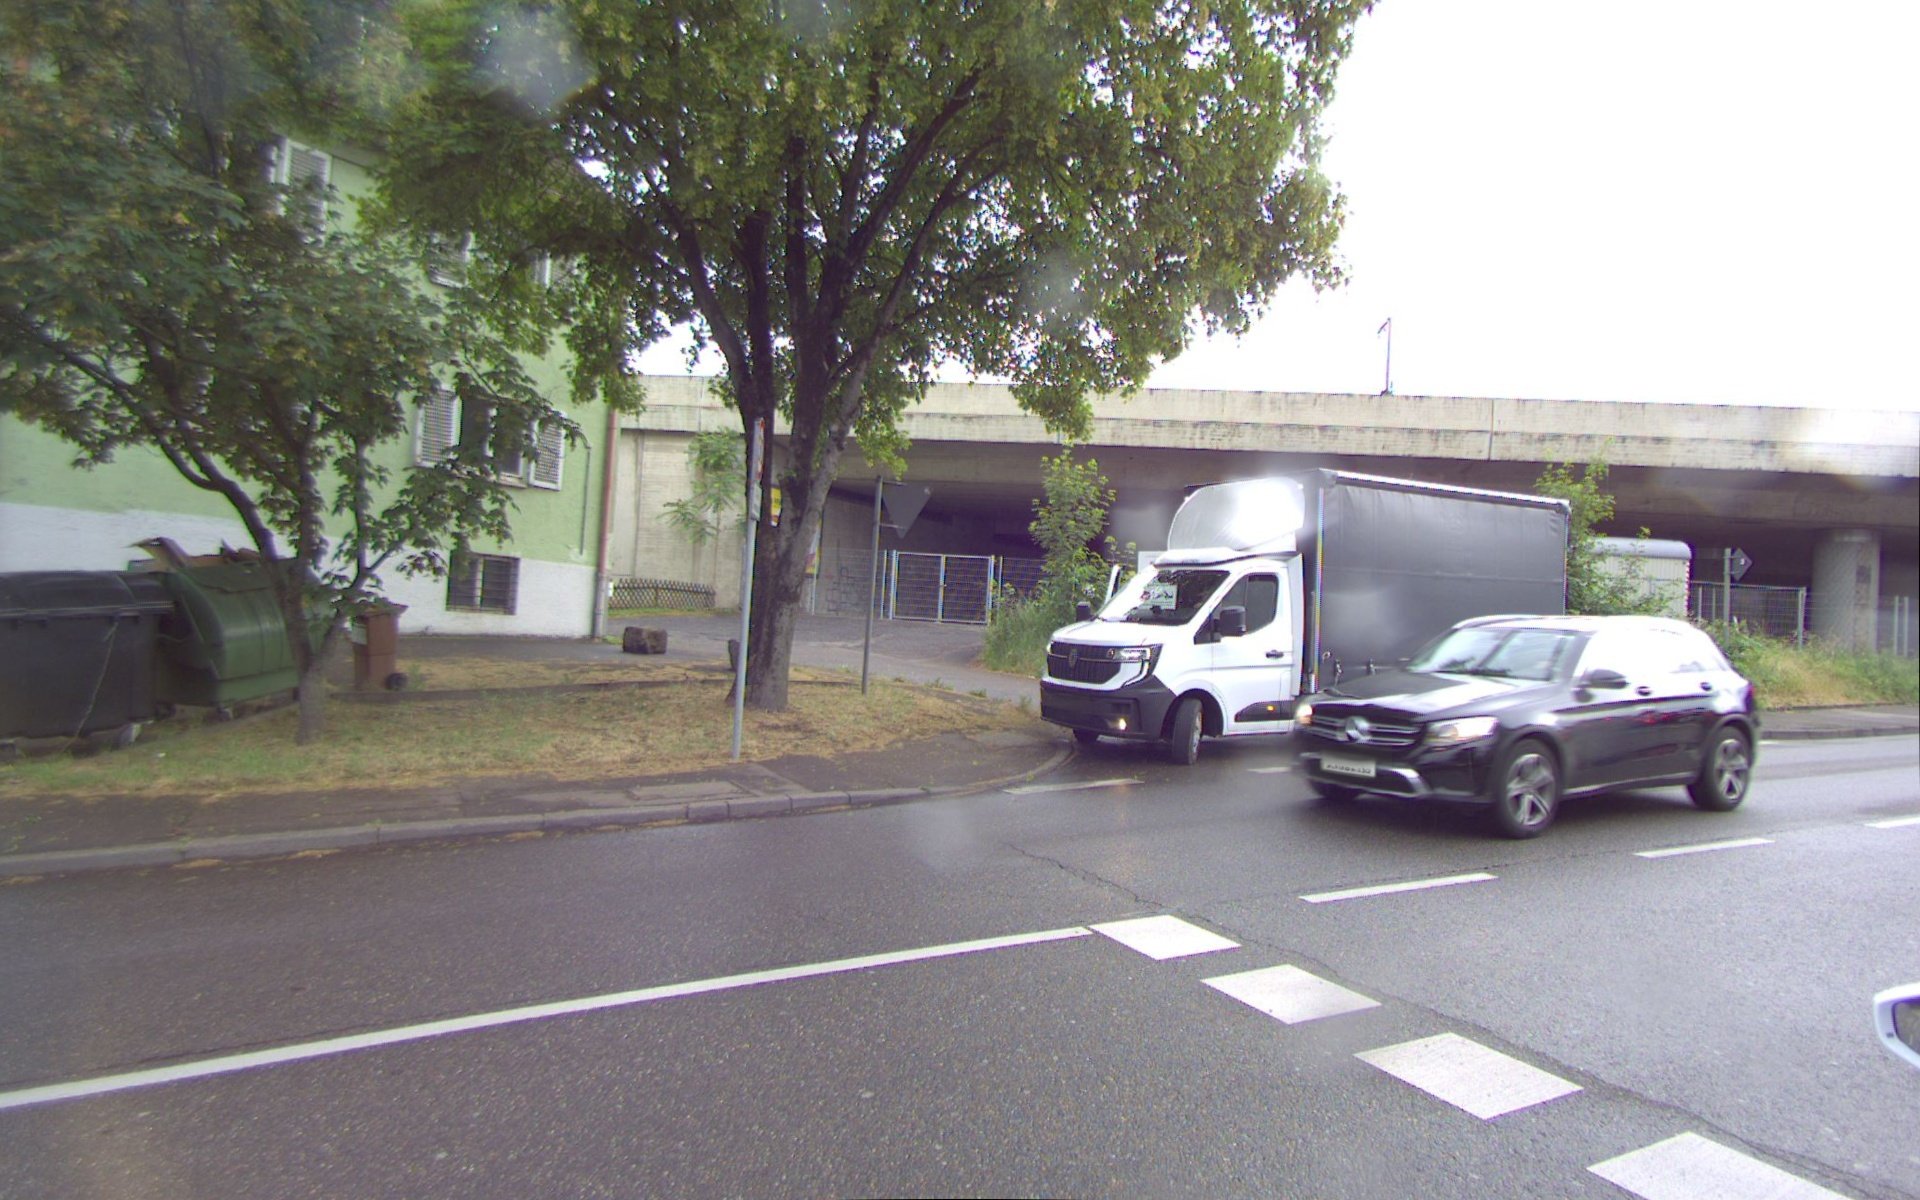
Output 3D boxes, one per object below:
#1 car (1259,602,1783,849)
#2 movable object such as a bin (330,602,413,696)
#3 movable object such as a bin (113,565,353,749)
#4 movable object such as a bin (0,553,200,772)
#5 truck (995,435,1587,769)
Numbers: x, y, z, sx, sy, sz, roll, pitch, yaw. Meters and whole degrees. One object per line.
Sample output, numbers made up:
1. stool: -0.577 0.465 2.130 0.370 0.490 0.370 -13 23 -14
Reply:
1. car: 4.870 0.905 8.606 4.381 1.648 1.906 2 -1 -29
2. movable object such as a bin: -6.368 0.528 10.896 0.715 0.970 0.554 3 -1 -30
3. movable object such as a bin: -6.744 0.467 9.414 1.078 1.457 1.463 5 5 13
4. movable object such as a bin: -7.311 0.415 8.050 1.268 1.457 1.463 5 5 13
5. truck: 4.447 0.175 12.849 7.681 3.279 2.599 3 -1 -29
